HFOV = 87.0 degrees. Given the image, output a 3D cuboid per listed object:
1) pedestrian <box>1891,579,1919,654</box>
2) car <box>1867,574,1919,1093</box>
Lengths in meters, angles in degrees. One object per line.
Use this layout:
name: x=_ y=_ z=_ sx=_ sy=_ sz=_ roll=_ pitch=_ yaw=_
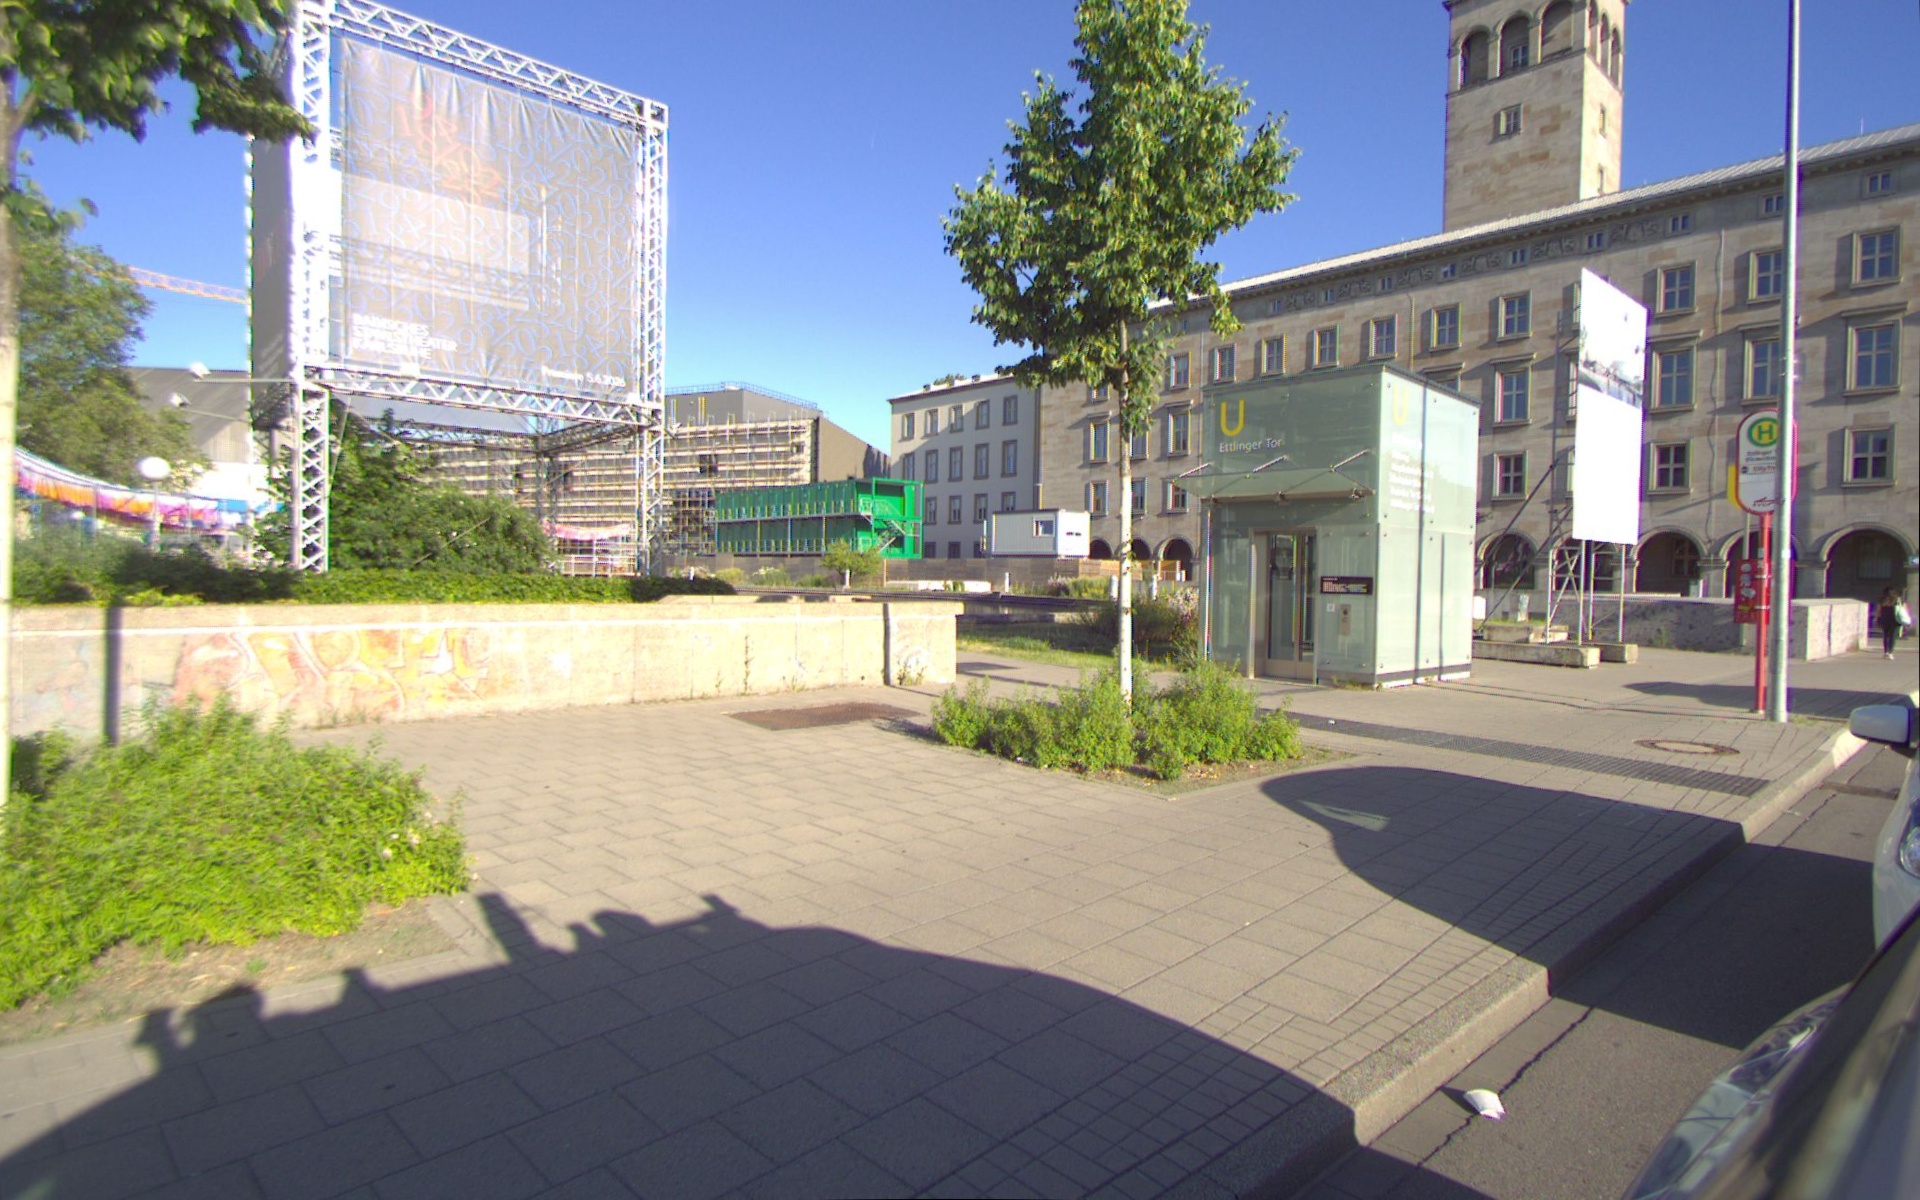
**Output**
pedestrian: x=22.375 y=0.379 z=23.856 sx=0.543 sy=1.723 sz=0.551 roll=0 pitch=1 yaw=-42
car: x=4.640 y=0.678 z=3.662 sx=3.930 sy=1.473 sz=1.518 roll=0 pitch=2 yaw=-41
